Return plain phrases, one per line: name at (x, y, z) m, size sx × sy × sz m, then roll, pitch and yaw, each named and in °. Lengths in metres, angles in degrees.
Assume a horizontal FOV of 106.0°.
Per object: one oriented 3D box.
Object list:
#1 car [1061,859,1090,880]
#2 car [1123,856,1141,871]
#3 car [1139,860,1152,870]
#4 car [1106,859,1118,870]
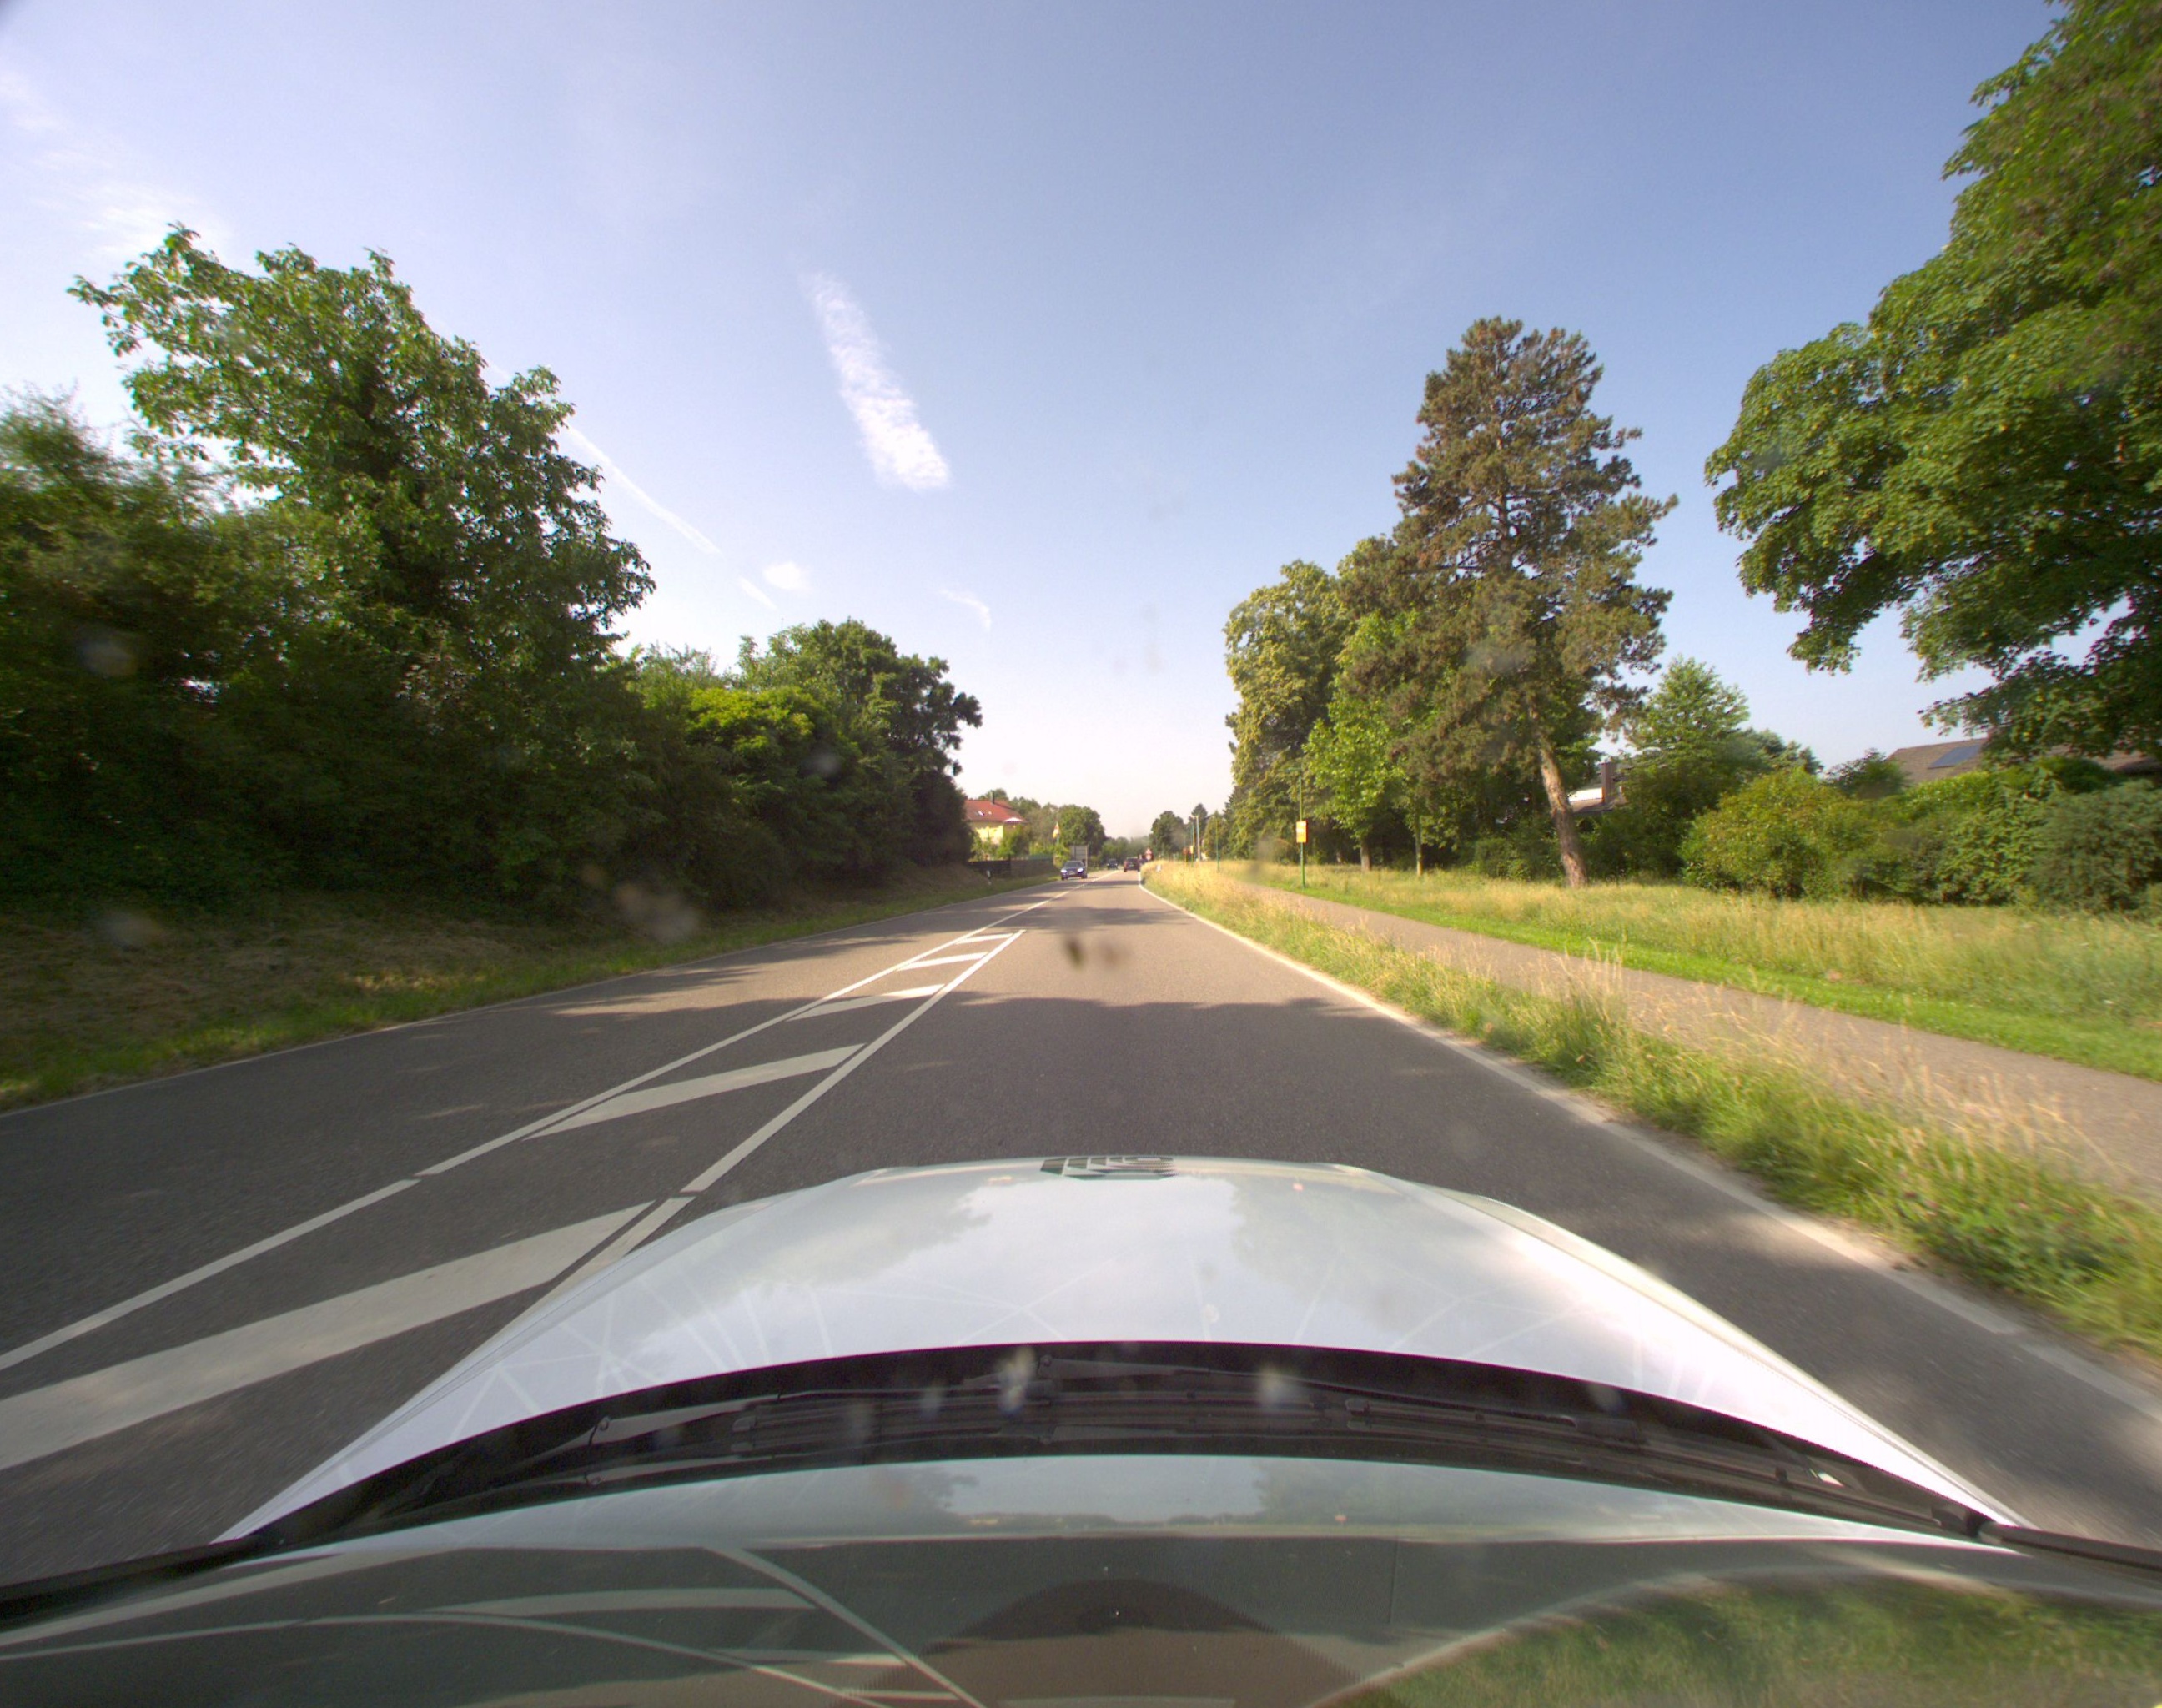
car at (-0.390, 1.213, 64.055) m, size 1.862 × 1.423 × 4.580 m, roll -4°, pitch 0°, yaw 3°
car at (6.098, 1.111, 97.720) m, size 1.918 × 1.771 × 4.002 m, roll -2°, pitch 0°, yaw 2°
car at (10.385, 1.695, 130.539) m, size 1.730 × 1.516 × 3.914 m, roll -2°, pitch 0°, yaw 0°
car at (5.562, 1.829, 143.849) m, size 1.931 × 1.817 × 4.246 m, roll -4°, pitch -1°, yaw 3°
